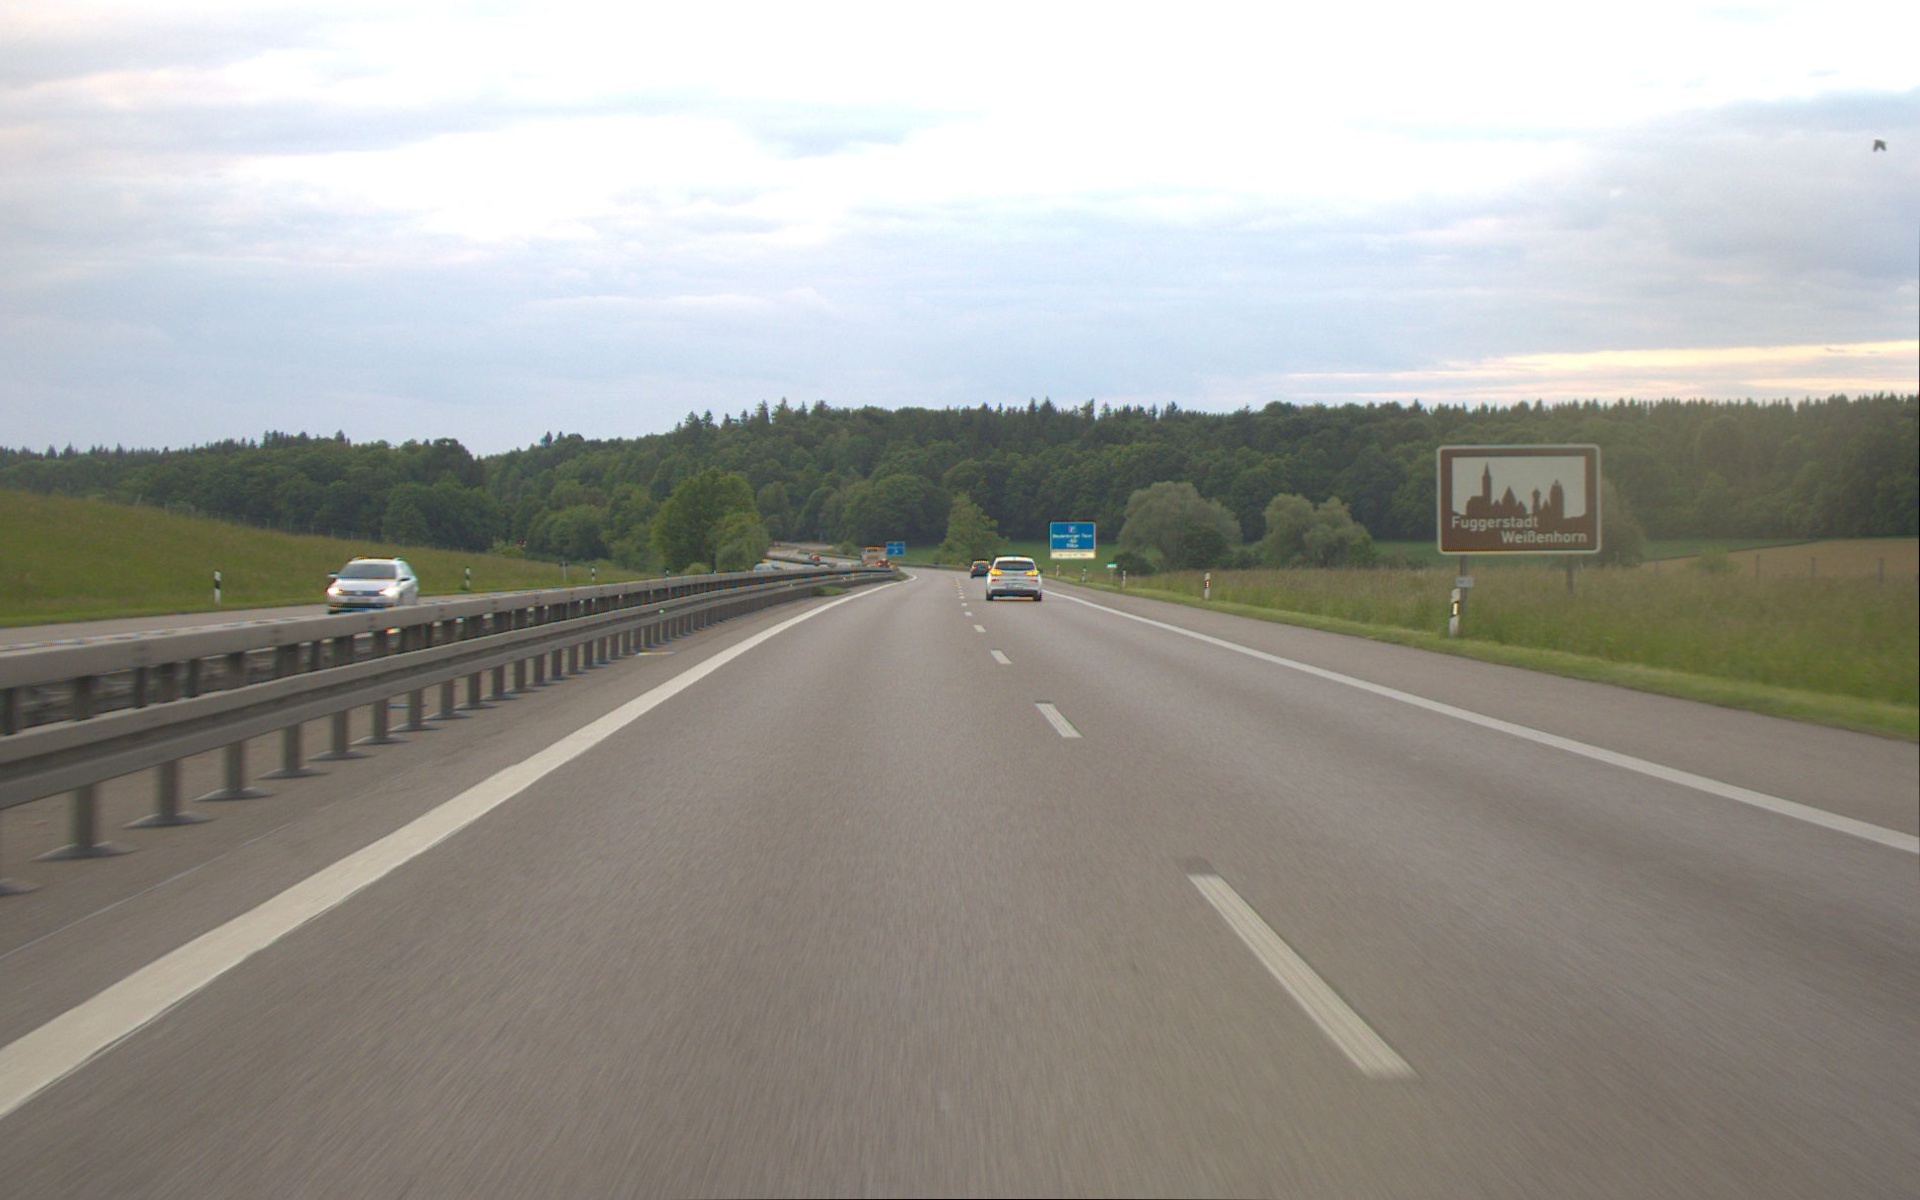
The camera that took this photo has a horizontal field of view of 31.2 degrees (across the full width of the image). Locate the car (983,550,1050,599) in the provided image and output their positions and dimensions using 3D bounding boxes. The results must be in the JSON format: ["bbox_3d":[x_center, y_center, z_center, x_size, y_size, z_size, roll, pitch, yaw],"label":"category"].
[{"bbox_3d":[1.841,-0.849,113.066,1.951,1.526,4.081,1,1,-2],"label":"car"}]

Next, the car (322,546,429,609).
[{"bbox_3d":[-14.811,-0.601,87.369,1.765,1.477,5.334,1,1,0],"label":"car"}]
